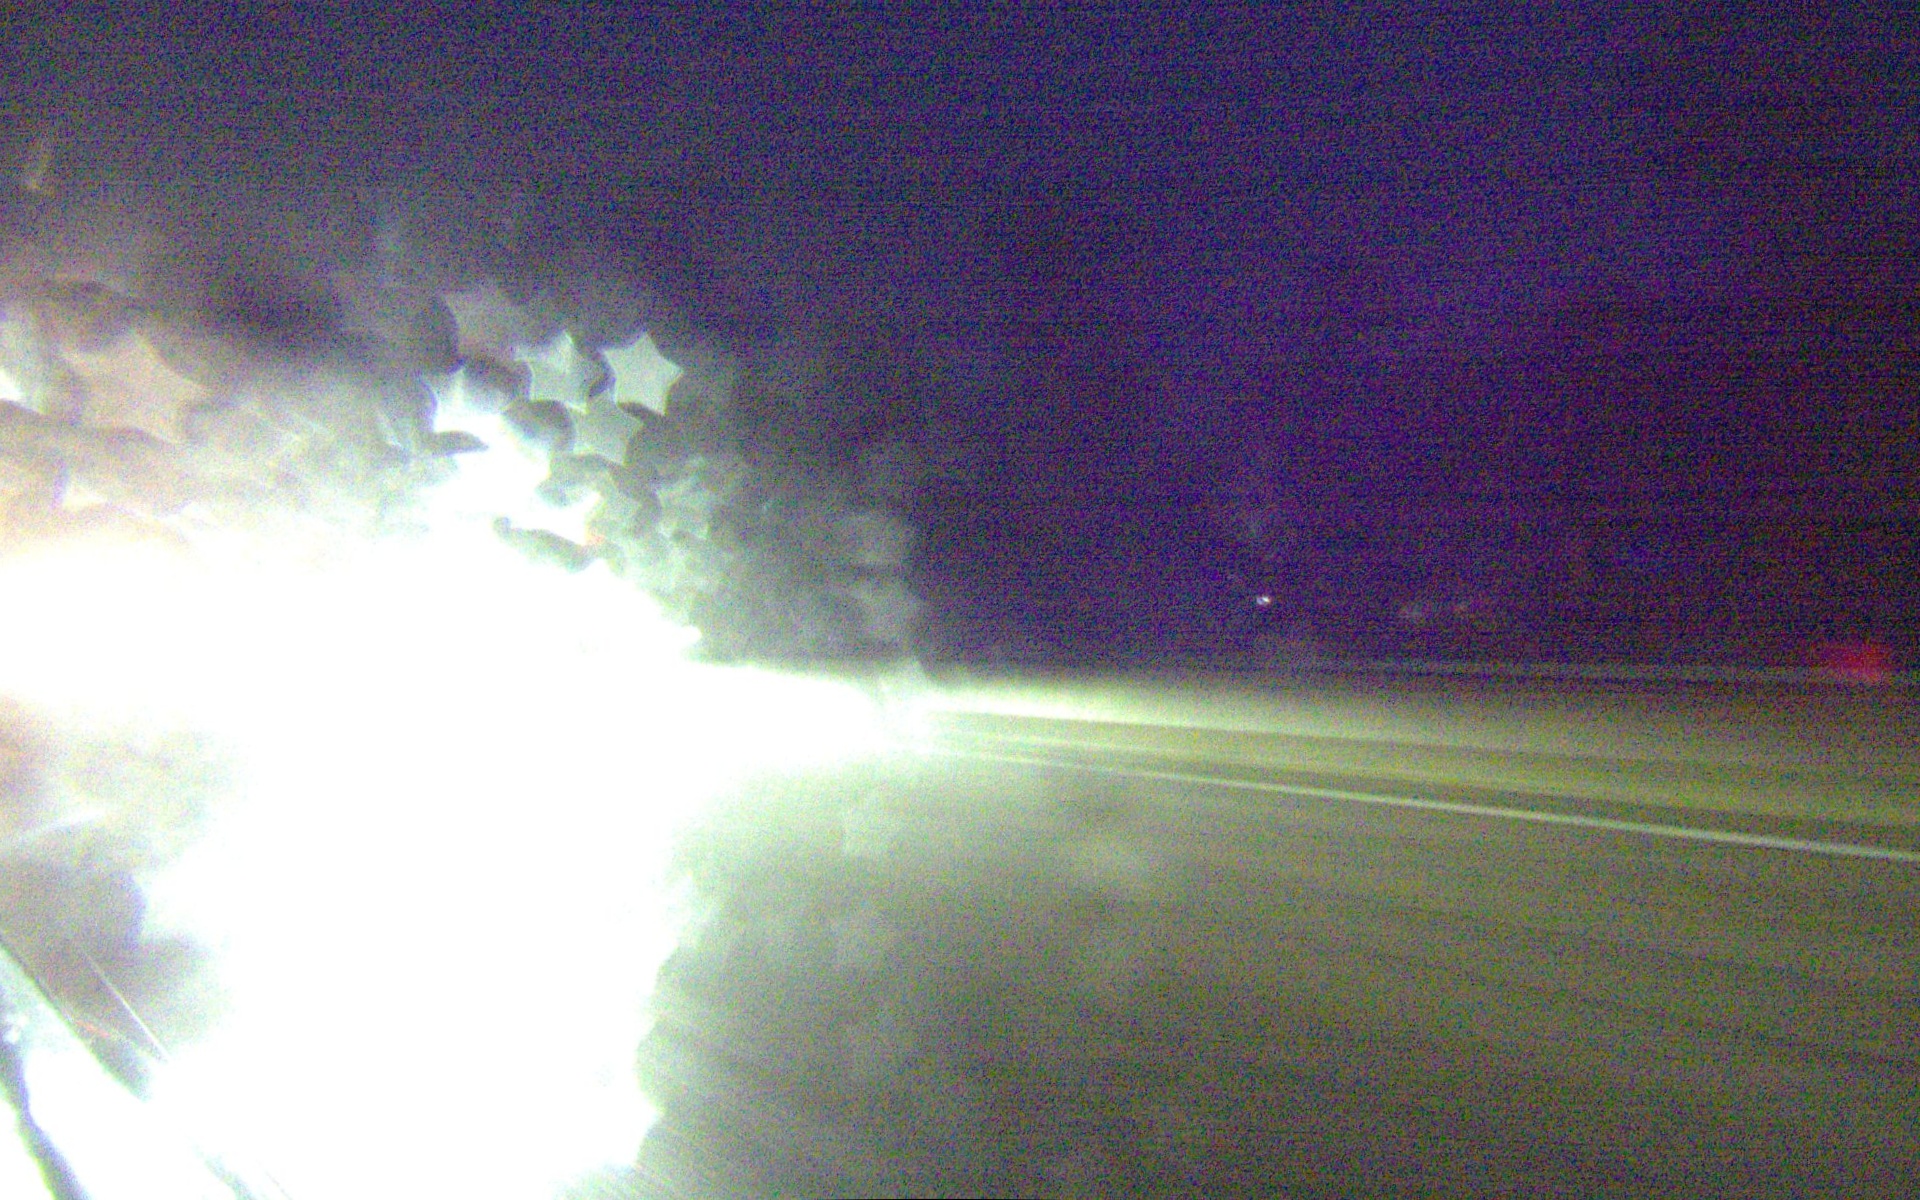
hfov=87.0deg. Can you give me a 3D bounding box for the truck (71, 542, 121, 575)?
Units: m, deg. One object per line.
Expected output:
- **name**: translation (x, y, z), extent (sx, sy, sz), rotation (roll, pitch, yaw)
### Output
- **truck**: translation (-106.527, -5.099, 124.787), extent (5.392, 3.808, 2.400), rotation (1, -1, 22)

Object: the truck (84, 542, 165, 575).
- **truck**: translation (-101.377, -5.001, 122.748), extent (11.154, 3.808, 2.400), rotation (1, -1, 22)

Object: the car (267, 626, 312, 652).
- **car**: translation (-46.299, 2.682, 69.841), extent (4.001, 1.644, 1.752), rotation (1, -1, 44)

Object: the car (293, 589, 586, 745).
- **car**: translation (-7.896, 0.875, 15.039), extent (5.555, 1.899, 2.113), rotation (-1, -2, 43)

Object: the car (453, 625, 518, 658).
- **car**: translation (-24.979, 2.155, 53.262), extent (4.001, 1.644, 1.752), rotation (-1, -2, 44)

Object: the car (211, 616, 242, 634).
- **car**: translation (-73.150, 2.479, 100.922), extent (4.001, 1.644, 1.752), rotation (1, -1, 44)

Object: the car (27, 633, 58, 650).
- **car**: translation (-78.736, 3.569, 86.831), extent (3.991, 1.304, 1.688), rotation (-3, -3, 43)
